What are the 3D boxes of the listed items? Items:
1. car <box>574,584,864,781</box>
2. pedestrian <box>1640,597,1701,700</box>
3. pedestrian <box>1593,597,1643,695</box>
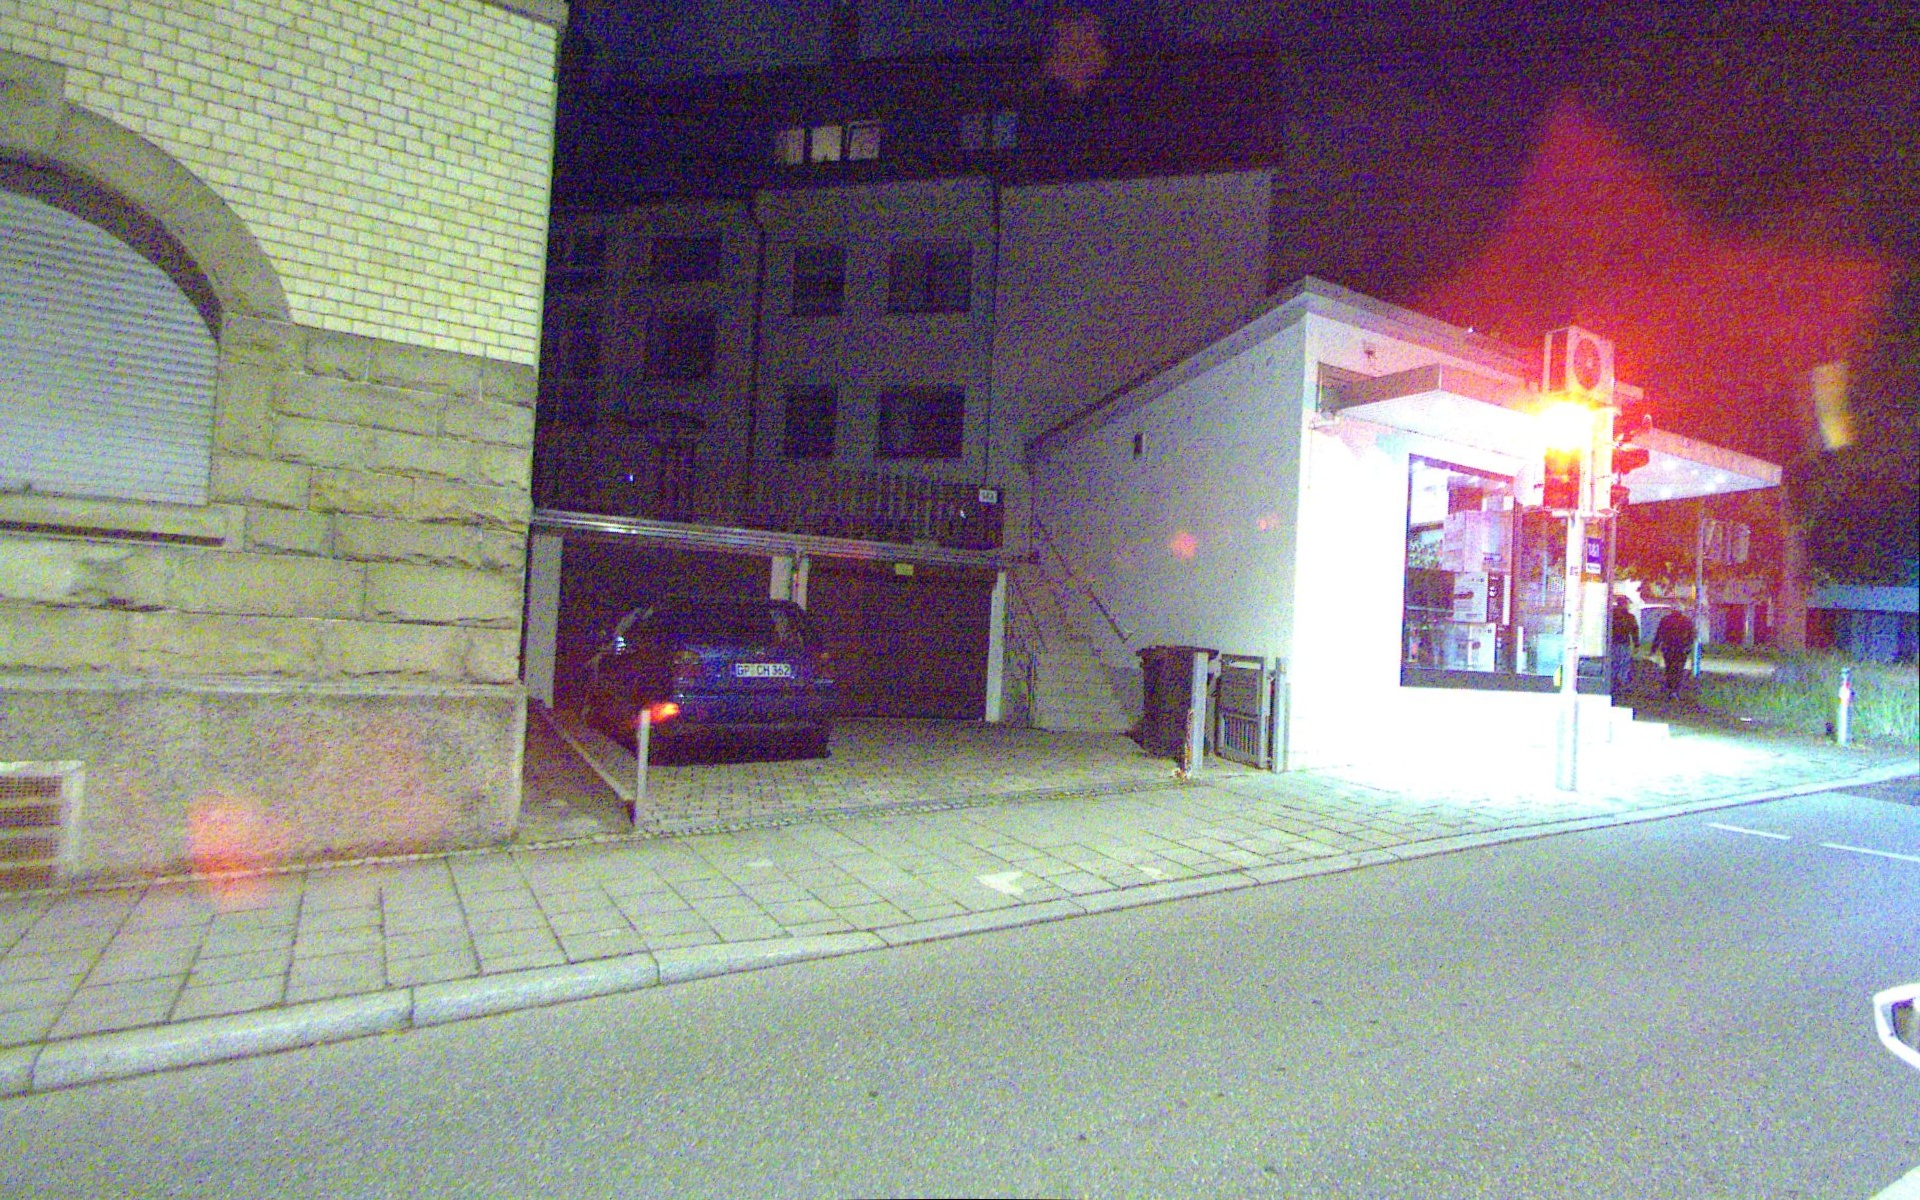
[{"bbox_3d":[-2.462,0.623,9.577,1.700,1.460,3.631,2,0,-30],"label":"car"},{"bbox_3d":[12.857,0.863,18.184,0.729,1.801,0.567,2,2,-30],"label":"pedestrian"},{"bbox_3d":[12.116,0.834,18.501,0.537,1.754,0.567,2,0,-30],"label":"pedestrian"}]
